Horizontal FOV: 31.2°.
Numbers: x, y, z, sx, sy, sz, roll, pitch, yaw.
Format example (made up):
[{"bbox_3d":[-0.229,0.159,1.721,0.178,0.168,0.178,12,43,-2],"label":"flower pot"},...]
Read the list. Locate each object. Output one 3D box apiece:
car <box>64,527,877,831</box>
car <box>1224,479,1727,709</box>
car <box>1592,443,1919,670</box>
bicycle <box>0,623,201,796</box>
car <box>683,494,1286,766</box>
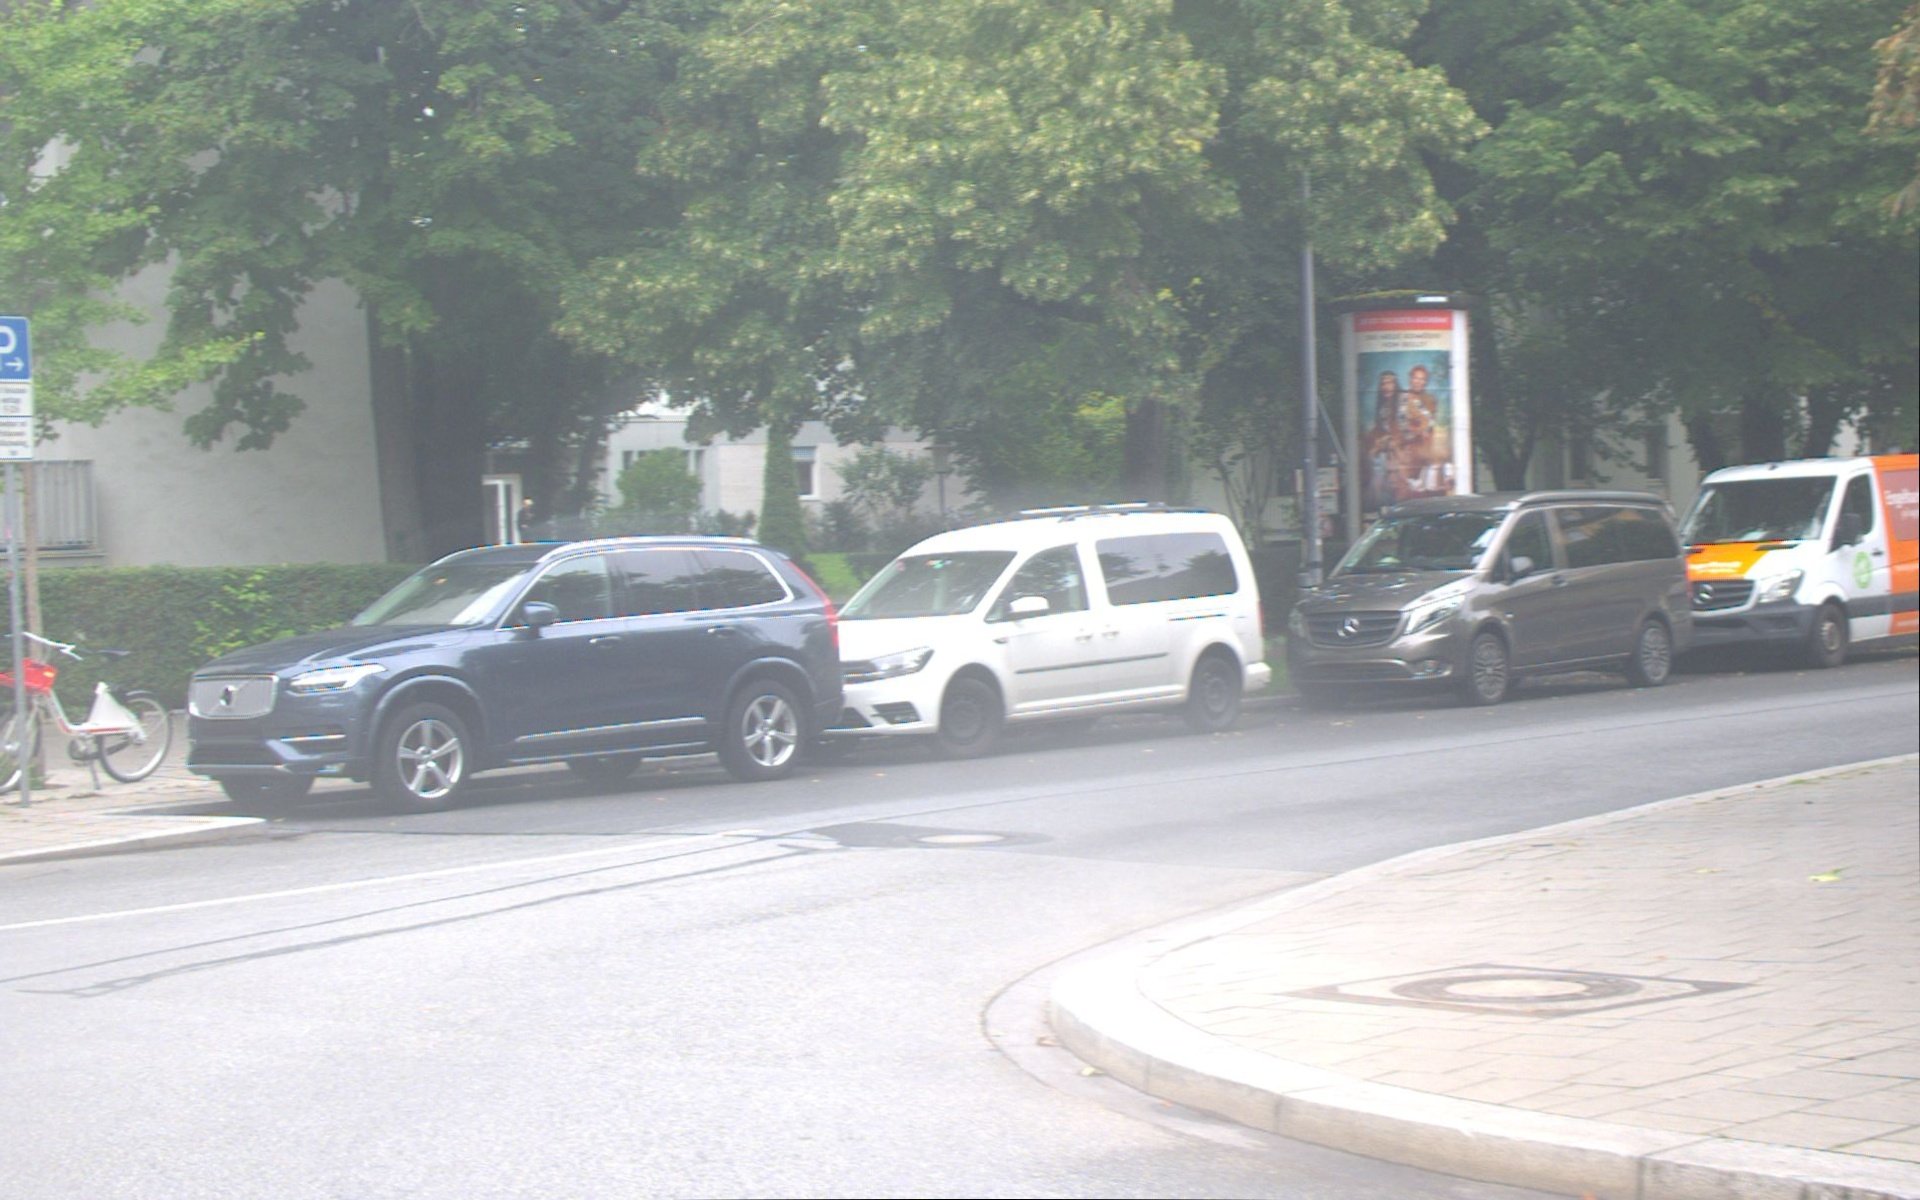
[{"bbox_3d":[-3.191,0.446,23.444,2.089,1.713,5.292,-1,2,43],"label":"car"},{"bbox_3d":[5.016,-0.105,32.700,2.030,1.901,5.654,-3,1,39],"label":"car"},{"bbox_3d":[9.421,-0.537,38.074,2.088,2.257,5.589,-3,0,41],"label":"car"},{"bbox_3d":[-6.214,0.746,23.940,0.752,1.081,1.781,-1,1,31],"label":"bicycle"},{"bbox_3d":[0.292,0.176,27.539,2.089,1.897,4.847,-1,2,42],"label":"car"}]
